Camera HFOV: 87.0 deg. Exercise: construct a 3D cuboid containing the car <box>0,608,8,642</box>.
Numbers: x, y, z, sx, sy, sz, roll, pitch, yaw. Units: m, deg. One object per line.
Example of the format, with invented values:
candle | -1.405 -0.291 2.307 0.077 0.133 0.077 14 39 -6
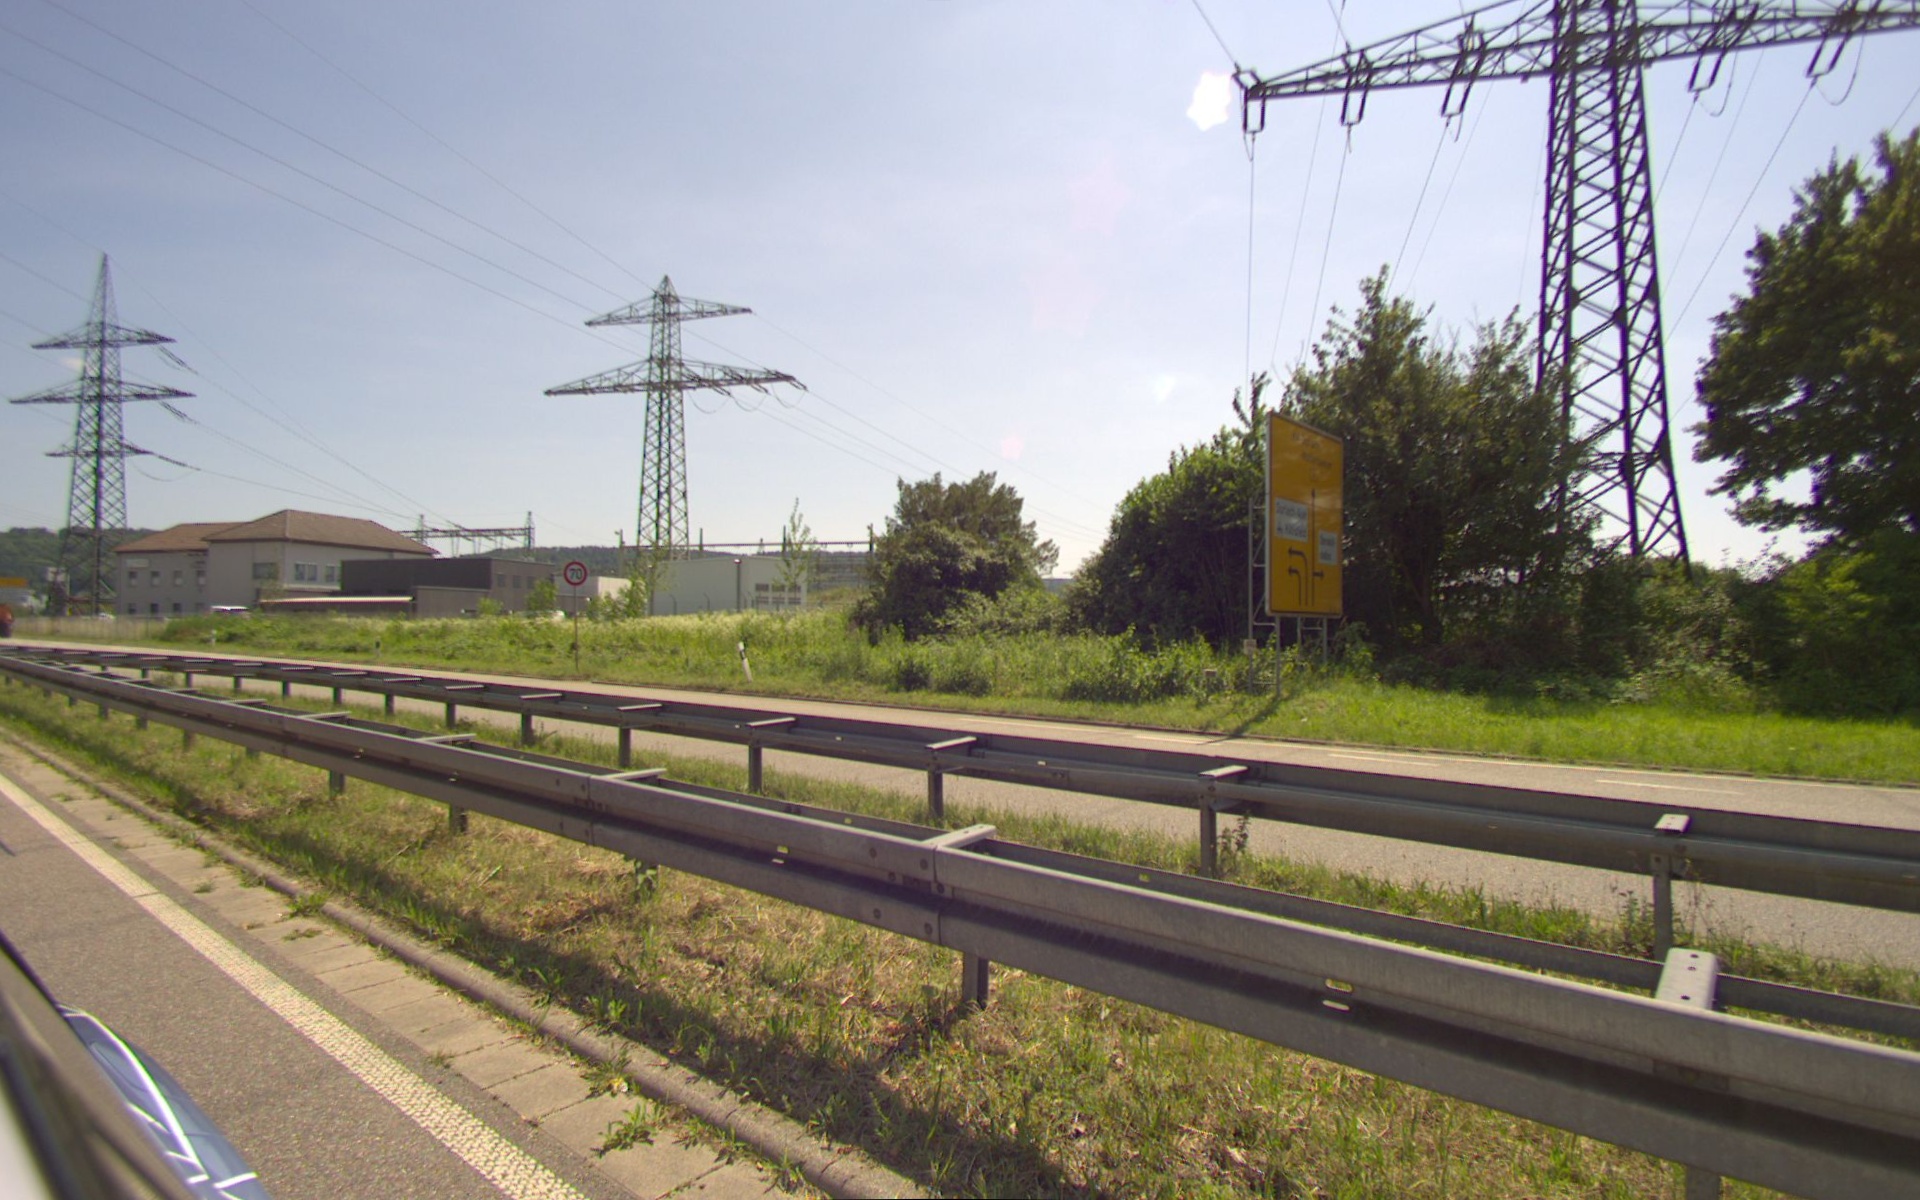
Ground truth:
car | -89.841 2.303 93.053 5.634 3.084 2.574 -1 -2 40
